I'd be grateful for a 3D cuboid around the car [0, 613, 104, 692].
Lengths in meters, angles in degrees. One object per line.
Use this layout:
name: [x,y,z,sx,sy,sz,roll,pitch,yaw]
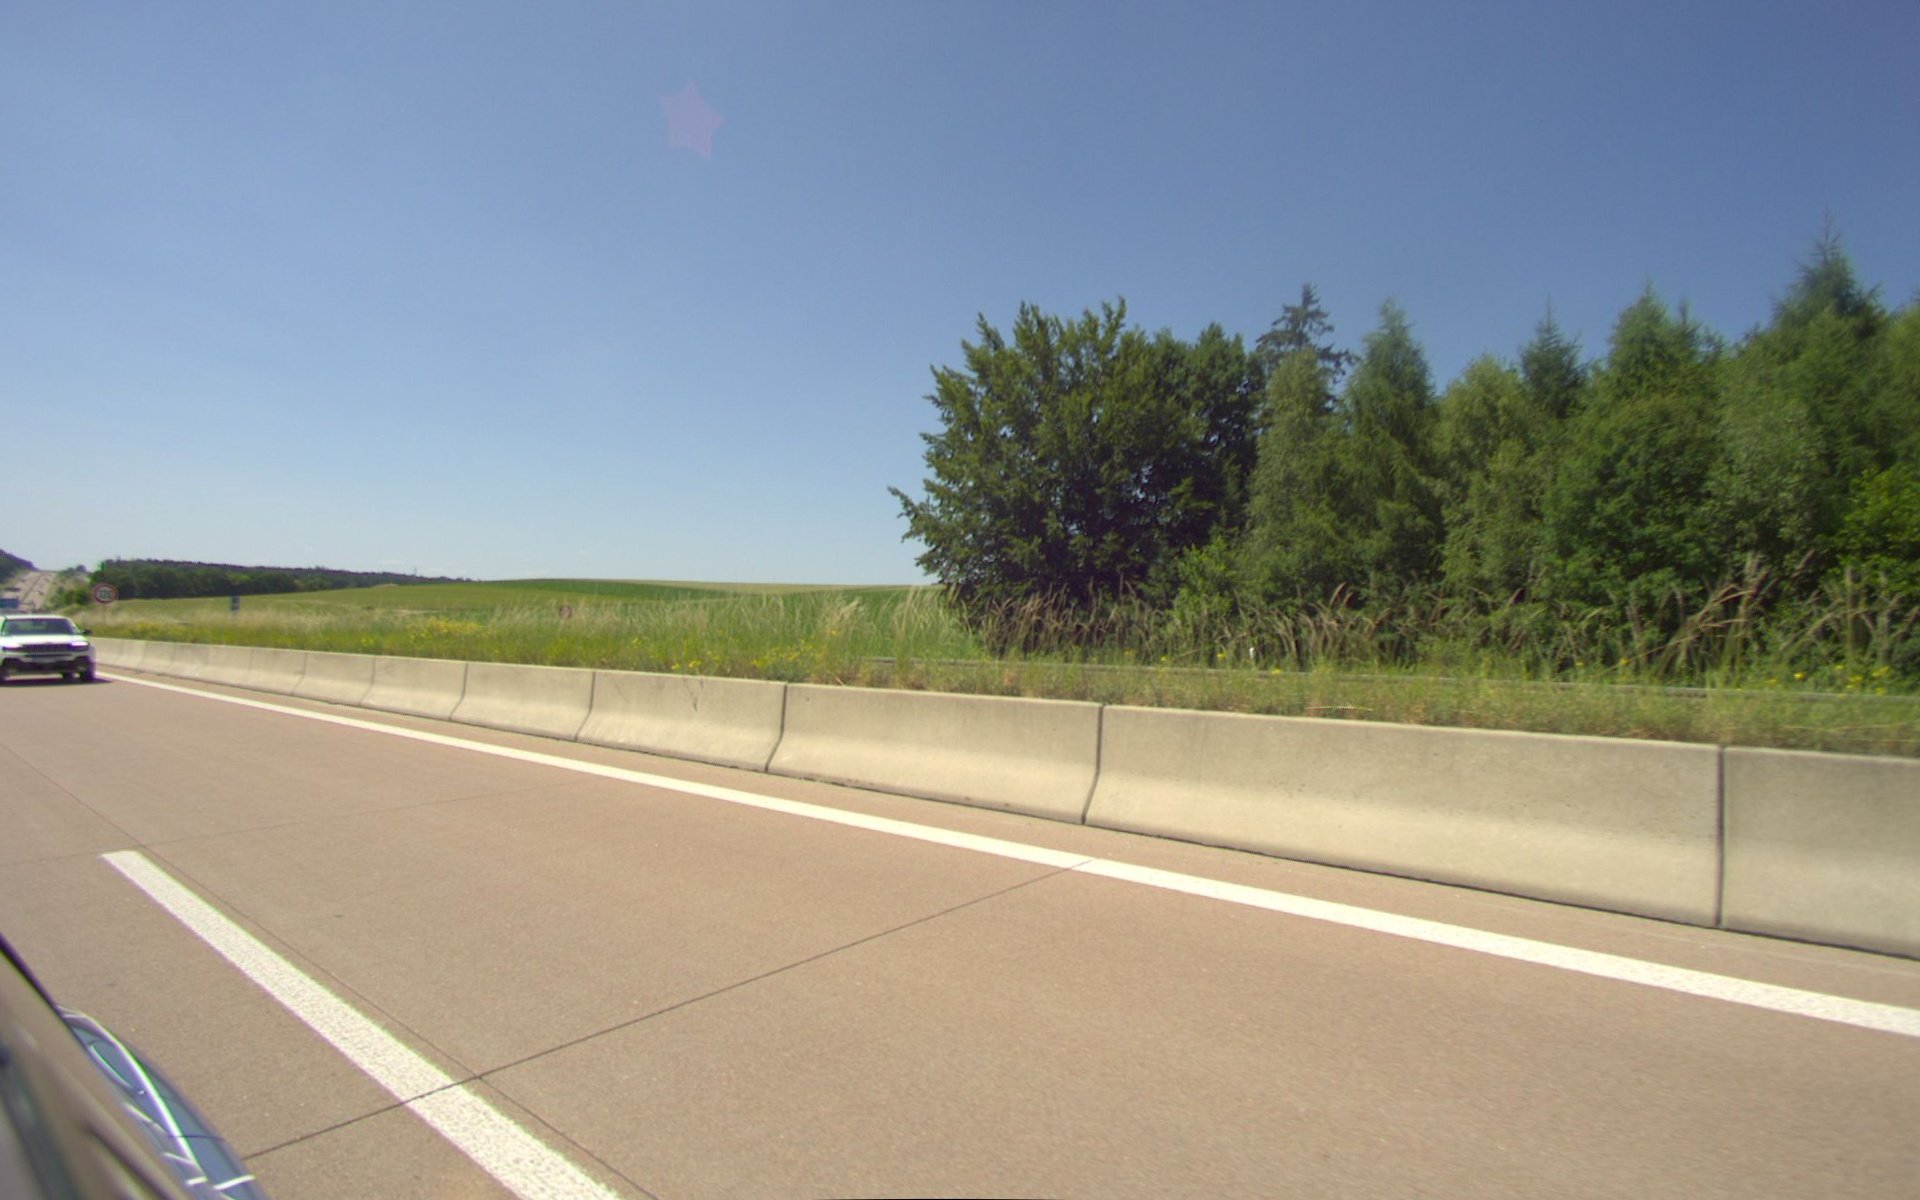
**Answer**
car: [-21.318,1.129,23.242,4.832,1.619,1.859,-1,-1,41]
